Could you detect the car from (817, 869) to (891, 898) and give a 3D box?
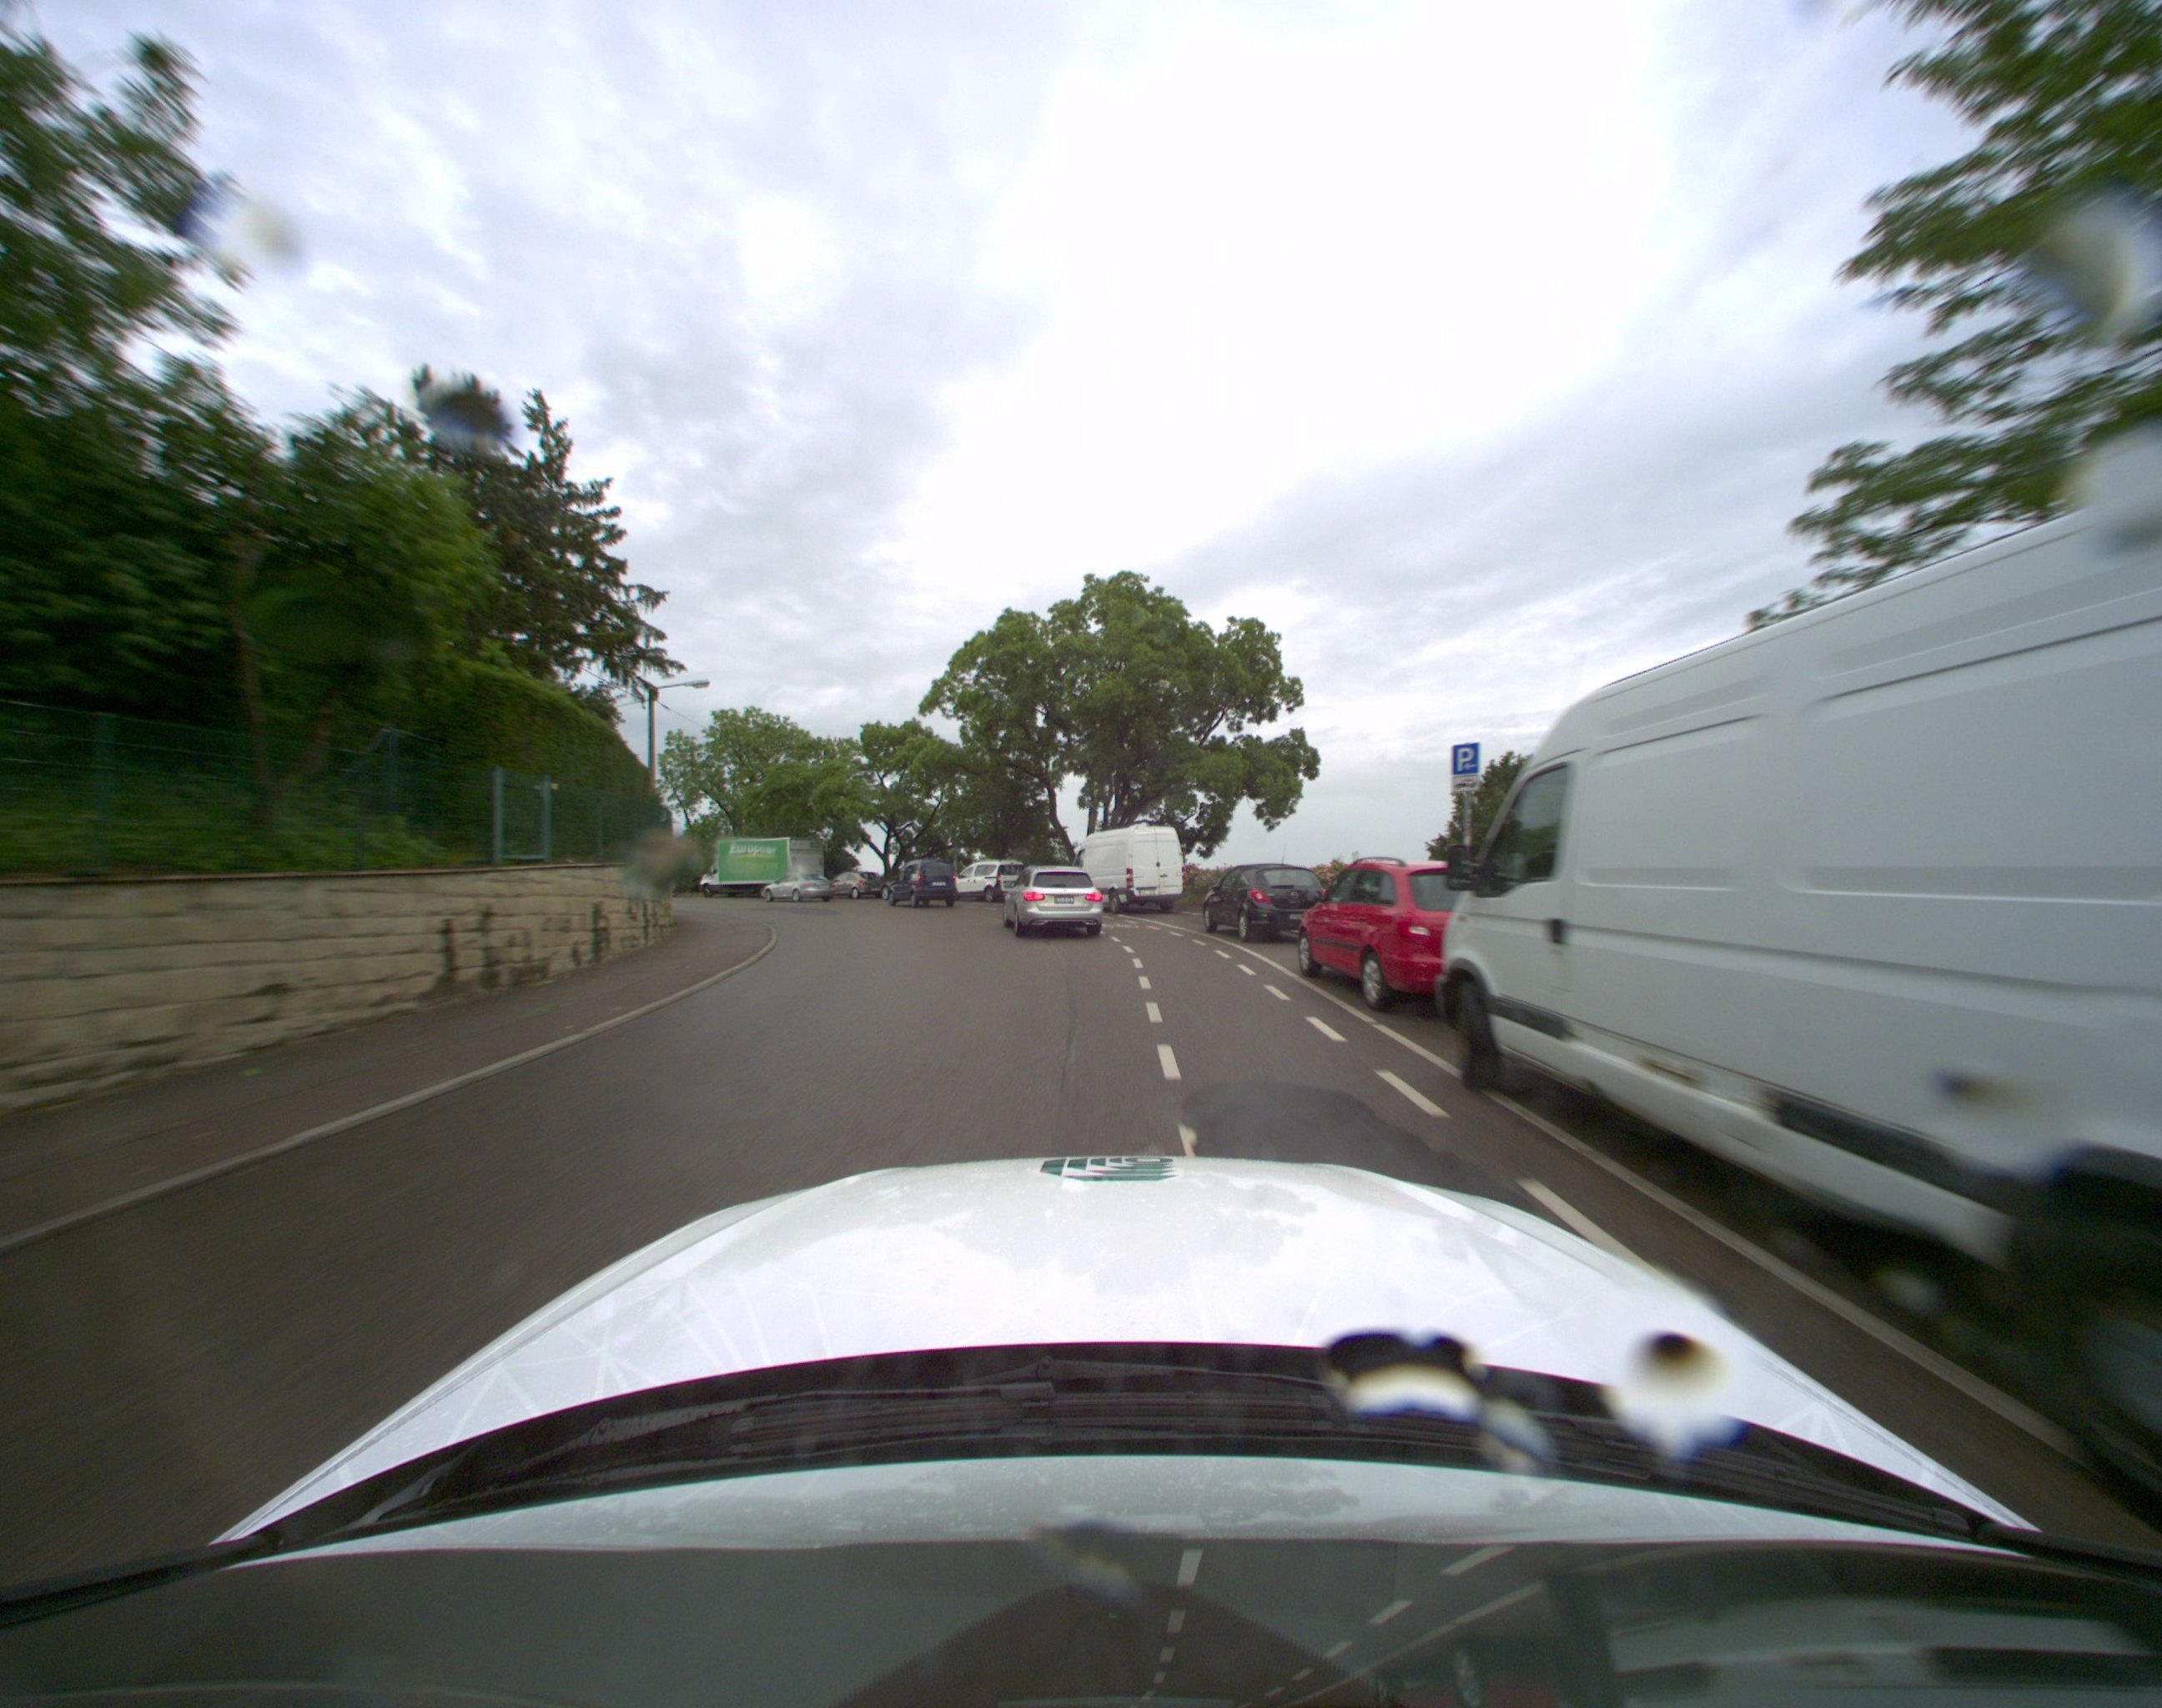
[{"bbox_3d":[-12.378,1.605,44.329,4.082,1.503,1.750,-2,0,38],"label":"car"}]

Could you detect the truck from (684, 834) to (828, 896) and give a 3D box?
[{"bbox_3d":[-19.535,0.697,48.771,8.821,3.471,2.799,-1,-1,27],"label":"truck"}]

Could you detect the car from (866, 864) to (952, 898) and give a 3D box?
[{"bbox_3d":[-8.661,1.335,40.748,1.877,1.542,4.834,-2,0,-44],"label":"car"}]

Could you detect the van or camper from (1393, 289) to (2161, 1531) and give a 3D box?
[{"bbox_3d":[3.429,0.115,3.693,2.065,2.661,5.599,-1,0,2],"label":"van or camper"}]

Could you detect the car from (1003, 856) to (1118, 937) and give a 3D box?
[{"bbox_3d":[-0.593,0.885,18.107,1.982,1.554,4.283,0,-2,-9],"label":"car"}]

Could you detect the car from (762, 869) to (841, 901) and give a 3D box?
[{"bbox_3d":[-13.788,1.509,40.084,4.043,1.458,1.871,-2,0,42],"label":"car"}]

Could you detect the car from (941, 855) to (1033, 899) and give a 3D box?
[{"bbox_3d":[-4.265,1.010,36.489,1.762,1.821,4.369,-2,0,-44],"label":"car"}]

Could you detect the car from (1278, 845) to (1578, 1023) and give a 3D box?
[{"bbox_3d":[3.621,0.721,9.395,1.615,1.540,4.214,-2,0,0],"label":"car"}]

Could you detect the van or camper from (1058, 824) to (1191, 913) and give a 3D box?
[{"bbox_3d":[1.246,0.454,27.013,2.075,2.580,5.844,-2,0,-22],"label":"van or camper"}]

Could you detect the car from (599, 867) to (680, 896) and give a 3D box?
[{"bbox_3d":[-28.266,1.770,52.184,4.337,1.771,1.871,-1,-2,10],"label":"car"}]

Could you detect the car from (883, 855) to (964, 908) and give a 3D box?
[{"bbox_3d":[-6.299,1.050,32.204,1.836,1.883,4.055,-2,0,-31],"label":"car"}]

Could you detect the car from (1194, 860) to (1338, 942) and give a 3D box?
[{"bbox_3d":[3.611,0.869,16.634,1.693,1.444,3.939,1,0,-6],"label":"car"}]
